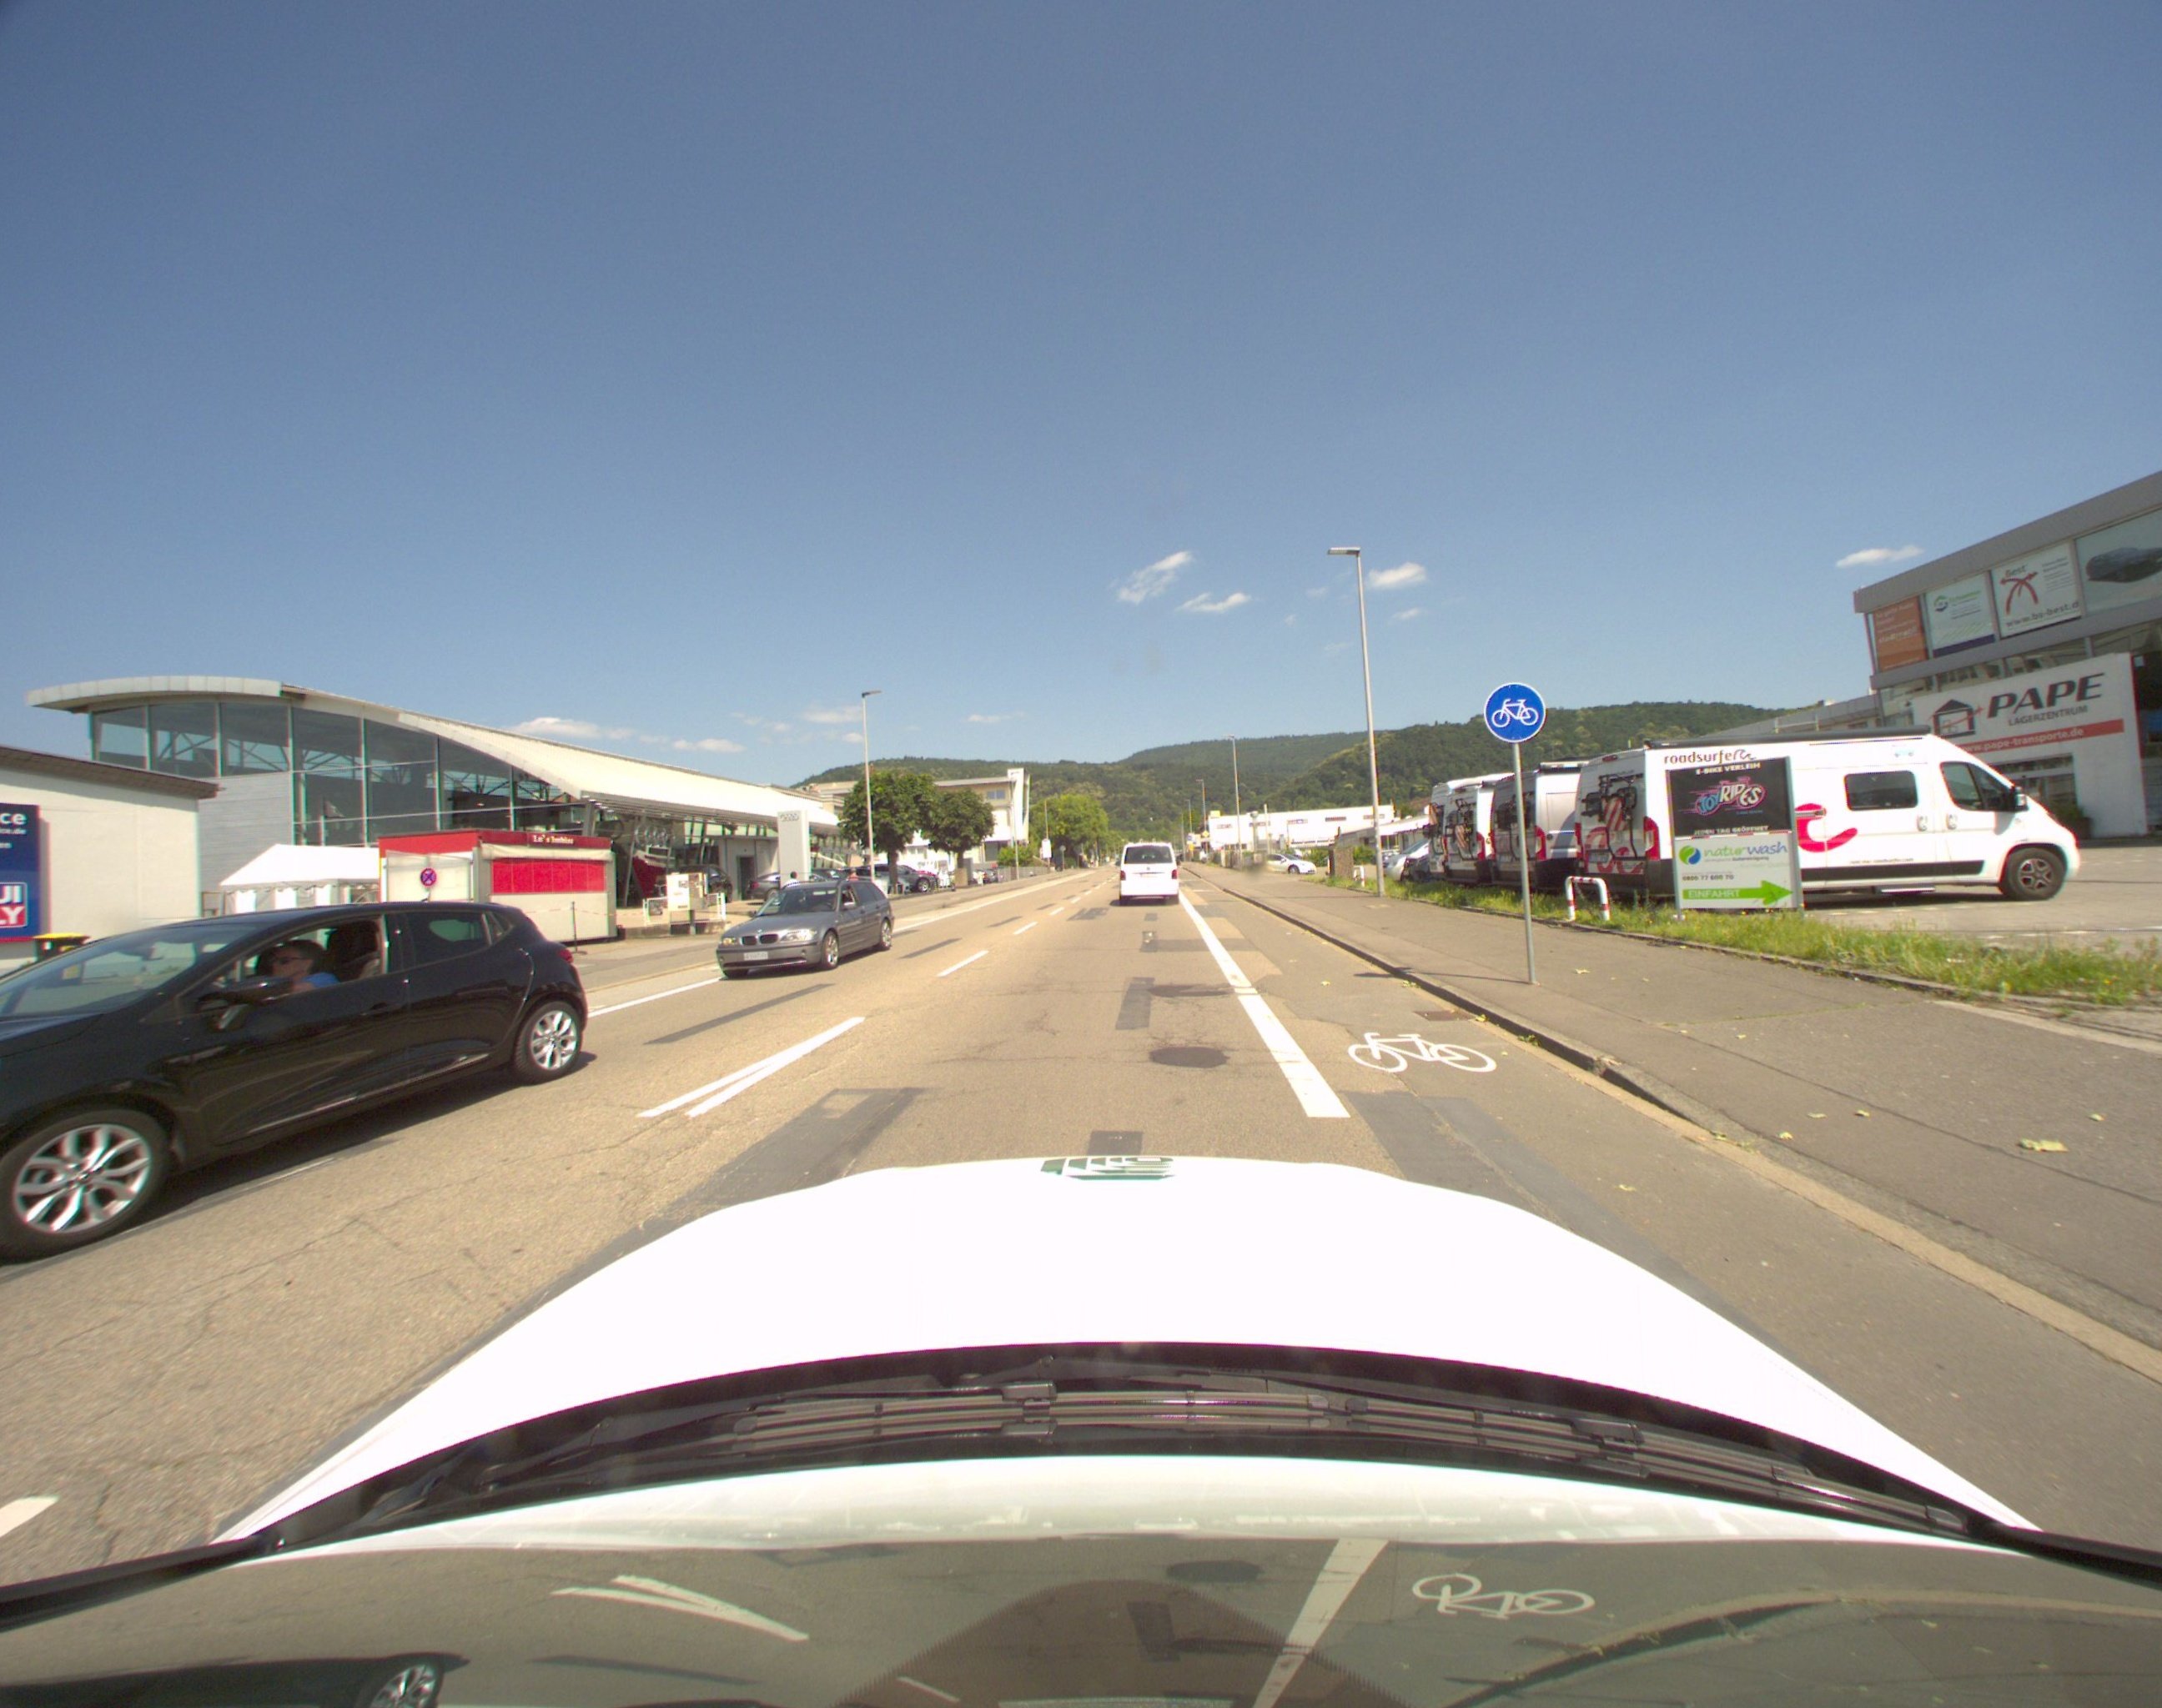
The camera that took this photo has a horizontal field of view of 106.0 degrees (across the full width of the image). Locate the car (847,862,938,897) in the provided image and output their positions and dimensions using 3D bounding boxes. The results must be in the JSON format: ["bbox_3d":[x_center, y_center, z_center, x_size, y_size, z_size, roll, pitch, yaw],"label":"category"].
[{"bbox_3d":[-10.587,1.425,45.740,4.595,1.696,1.841,-3,-1,-31],"label":"car"}]

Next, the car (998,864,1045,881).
[{"bbox_3d":[-6.359,1.947,87.725,4.719,1.481,2.050,-4,-1,3],"label":"car"}]

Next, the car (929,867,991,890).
[{"bbox_3d":[-9.600,1.933,65.078,4.505,1.457,1.902,-4,-1,3],"label":"car"}]

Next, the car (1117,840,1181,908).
[{"bbox_3d":[2.222,0.629,27.217,1.926,2.060,4.548,-1,-1,3],"label":"car"}]

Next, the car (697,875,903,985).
[{"bbox_3d":[-4.619,1.175,14.161,1.734,1.404,4.328,-5,-1,3],"label":"car"}]

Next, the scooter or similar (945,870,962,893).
[{"bbox_3d":[-7.494,1.605,47.952,0.742,1.247,1.489,-3,-1,-3],"label":"scooter or similar"}]

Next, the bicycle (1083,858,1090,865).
[{"bbox_3d":[0.862,1.311,135.218,1.023,1.118,2.767,-1,-1,2],"label":"bicycle"}]

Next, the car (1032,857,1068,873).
[{"bbox_3d":[-4.047,1.427,107.418,4.552,1.865,2.092,-3,-1,0],"label":"car"}]

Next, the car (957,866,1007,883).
[{"bbox_3d":[-8.422,1.784,69.803,3.971,1.443,1.860,0,-3,2],"label":"car"}]

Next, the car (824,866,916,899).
[{"bbox_3d":[-10.815,1.454,41.768,4.216,1.495,1.856,-1,-2,-31],"label":"car"}]

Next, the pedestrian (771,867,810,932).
[{"bbox_3d":[-8.670,1.333,24.358,0.721,1.848,0.911,-4,-1,0],"label":"pedestrian"}]

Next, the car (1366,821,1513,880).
[{"bbox_3d":[11.498,-0.101,26.309,3.904,1.593,1.800,-4,-1,4],"label":"car"}]

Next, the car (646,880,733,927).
[{"bbox_3d":[-15.895,1.957,33.367,1.994,1.719,4.715,0,-1,-10],"label":"car"}]

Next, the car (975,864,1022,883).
[{"bbox_3d":[-8.032,1.938,79.779,4.281,1.558,1.996,-4,-1,1],"label":"car"}]

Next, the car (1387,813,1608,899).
[{"bbox_3d":[11.884,0.064,23.529,5.210,1.952,2.002,-5,-1,4],"label":"car"}]

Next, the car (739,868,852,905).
[{"bbox_3d":[-11.989,1.388,34.262,4.173,1.460,1.889,2,-3,-31],"label":"car"}]

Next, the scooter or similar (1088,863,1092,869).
[{"bbox_3d":[1.496,2.058,138.991,0.645,1.128,1.622,-1,-1,-1],"label":"scooter or similar"}]

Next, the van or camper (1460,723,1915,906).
[{"bbox_3d":[11.012,-0.644,15.400,6.319,2.716,2.716,-4,-1,4],"label":"van or camper"}]

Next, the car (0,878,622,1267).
[{"bbox_3d":[-4.983,1.000,4.747,1.651,1.454,4.251,-5,-1,8],"label":"car"}]

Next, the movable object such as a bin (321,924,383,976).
[{"bbox_3d":[-14.118,1.843,15.783,0.567,0.922,0.692,-1,0,18],"label":"movable object such as a bin"}]

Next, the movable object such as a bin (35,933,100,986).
[{"bbox_3d":[-21.681,2.242,17.424,0.582,1.048,0.692,-1,0,18],"label":"movable object such as a bin"}]

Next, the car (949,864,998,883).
[{"bbox_3d":[-8.866,1.611,67.333,3.882,1.445,1.821,0,-3,-4],"label":"car"}]

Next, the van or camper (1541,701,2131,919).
[{"bbox_3d":[10.873,-0.559,12.338,6.167,2.524,2.622,-4,-1,4],"label":"van or camper"}]

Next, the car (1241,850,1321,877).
[{"bbox_3d":[13.525,0.684,55.225,2.034,1.622,4.985,4,-5,-42],"label":"car"}]

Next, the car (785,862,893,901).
[{"bbox_3d":[-11.304,1.243,38.061,4.497,1.608,1.947,1,2,-31],"label":"car"}]

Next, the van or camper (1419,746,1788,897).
[{"bbox_3d":[11.332,-0.650,18.236,6.319,2.700,2.716,-4,-1,4],"label":"van or camper"}]

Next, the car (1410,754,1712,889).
[{"bbox_3d":[12.123,-0.781,21.030,6.199,2.869,2.323,-4,-1,4],"label":"car"}]

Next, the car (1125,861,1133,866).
[{"bbox_3d":[13.563,2.725,231.407,1.984,1.370,4.332,-5,-1,5],"label":"car"}]

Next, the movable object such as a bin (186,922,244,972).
[{"bbox_3d":[-19.529,2.090,18.375,0.559,1.043,0.692,-1,0,18],"label":"movable object such as a bin"}]

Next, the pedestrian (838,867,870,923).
[{"bbox_3d":[-7.956,1.418,28.563,0.730,1.867,1.047,-4,-1,0],"label":"pedestrian"}]
